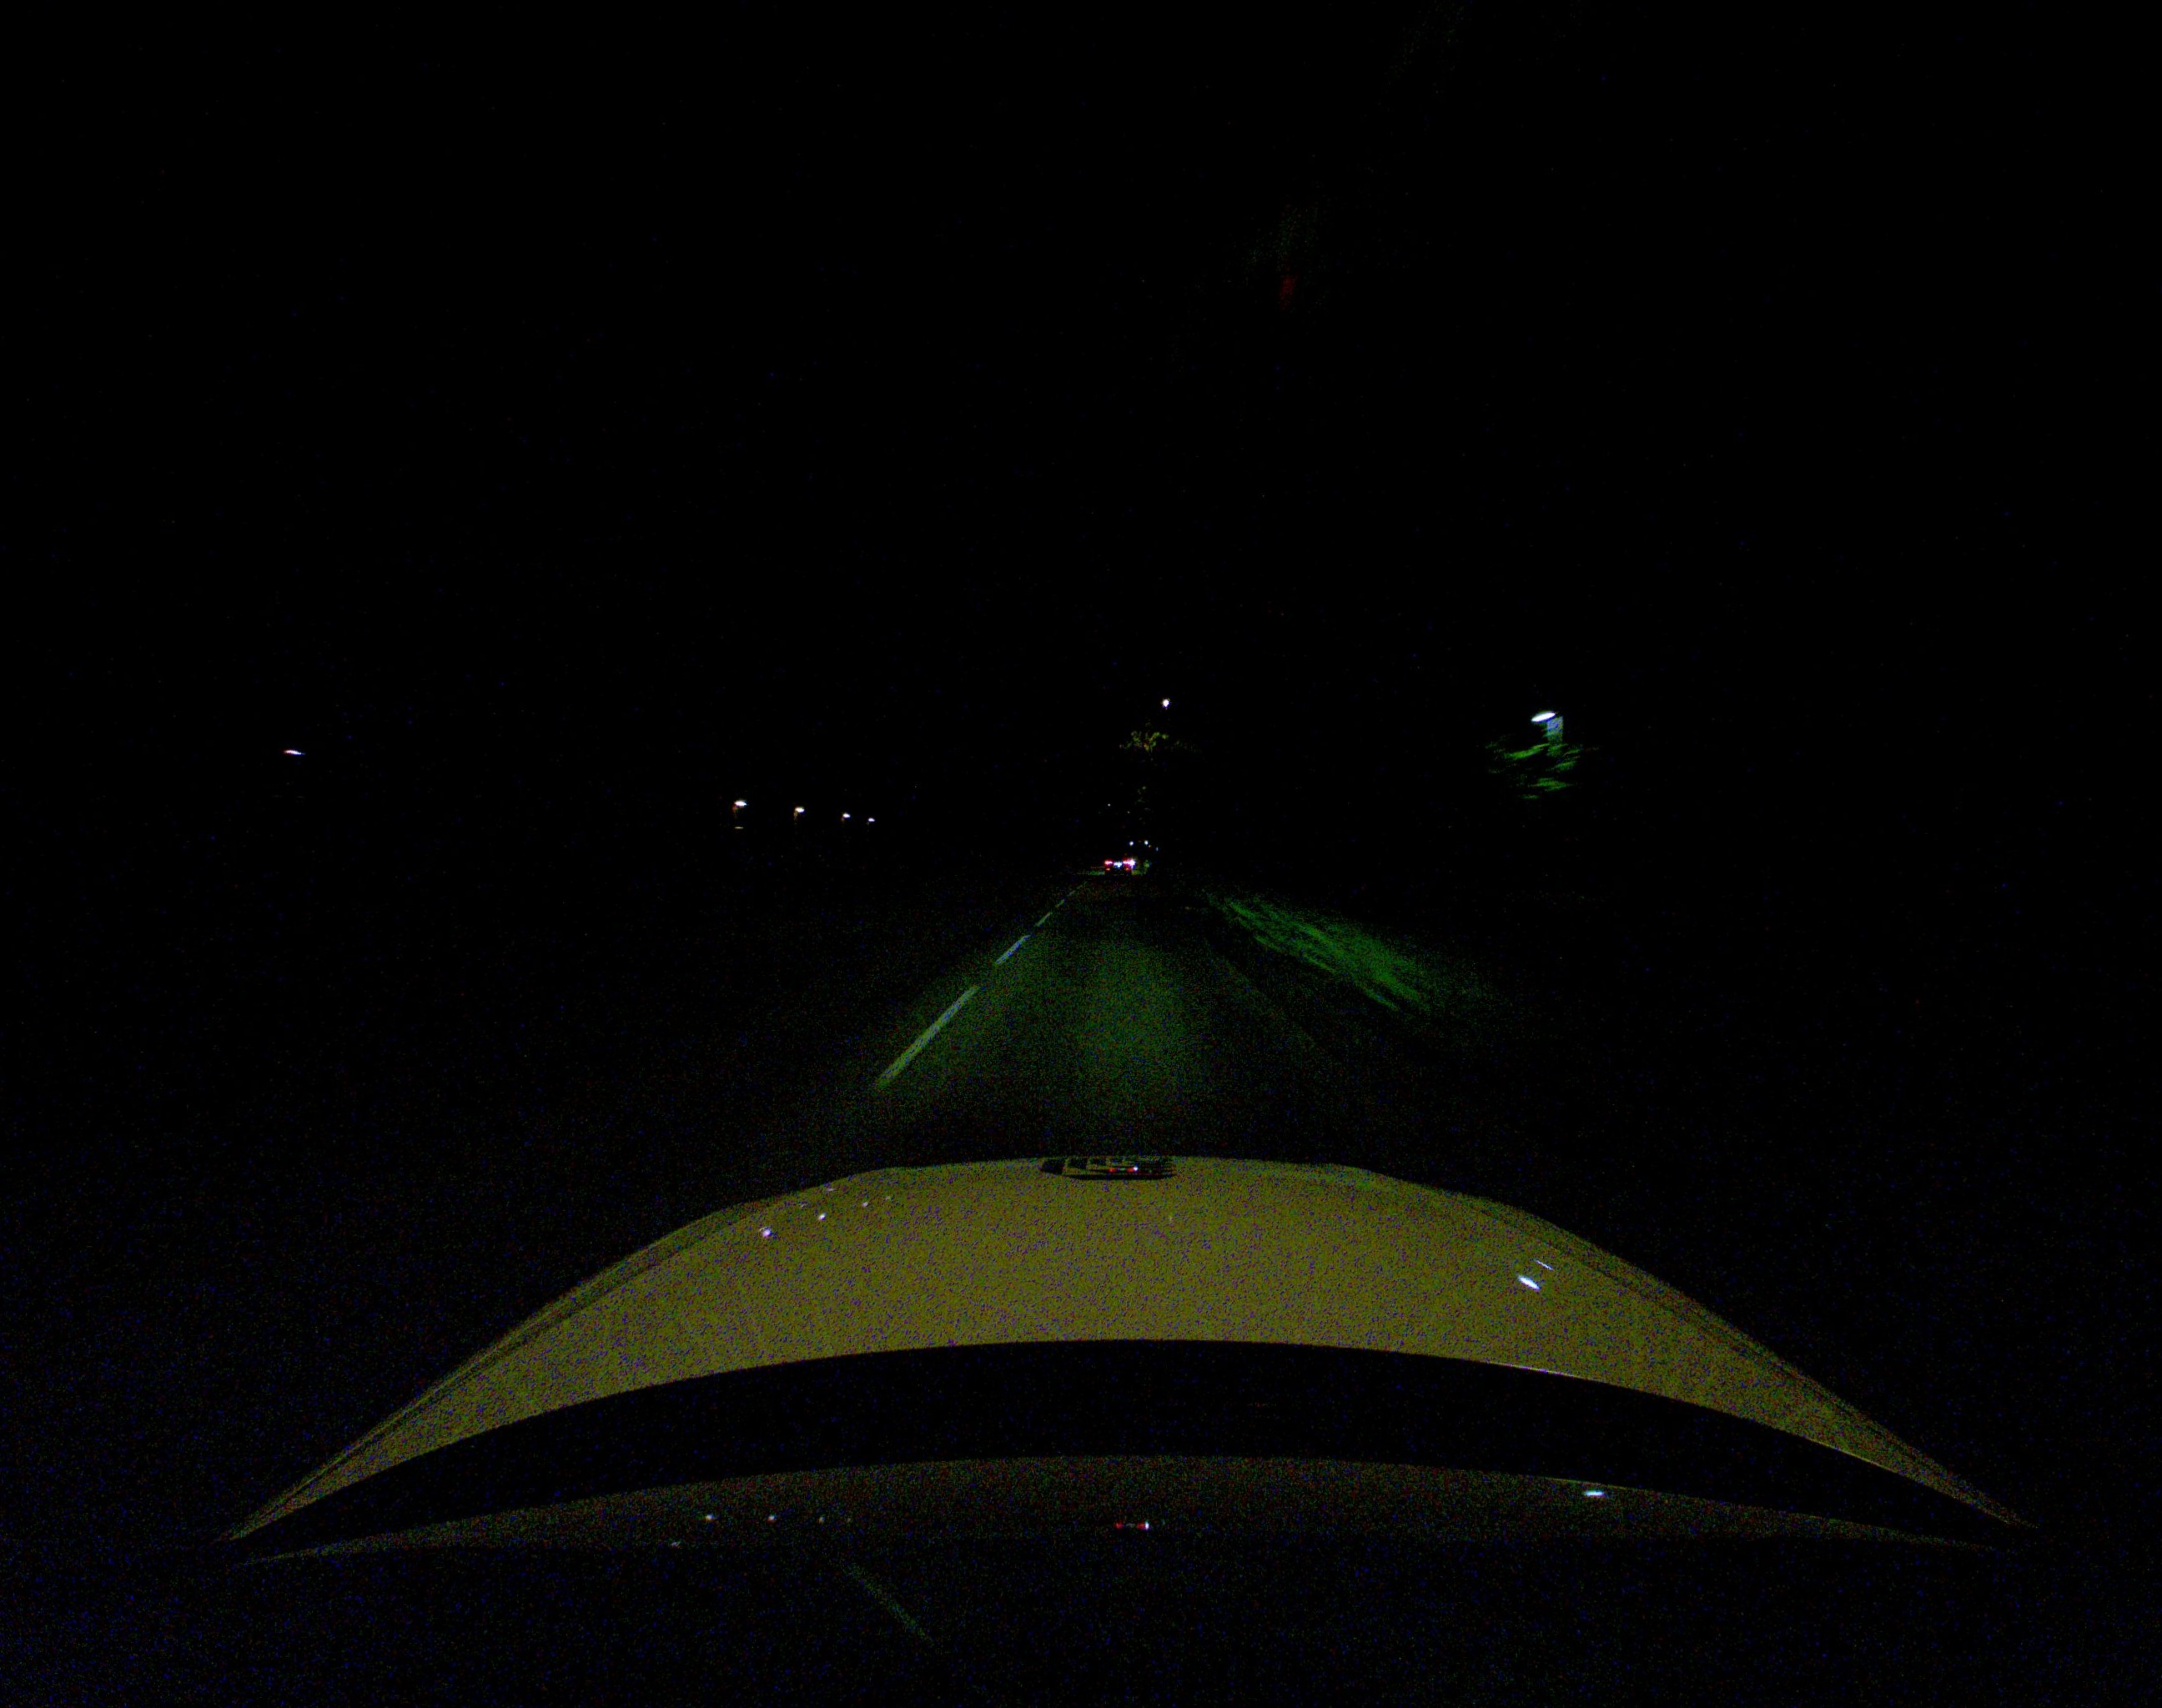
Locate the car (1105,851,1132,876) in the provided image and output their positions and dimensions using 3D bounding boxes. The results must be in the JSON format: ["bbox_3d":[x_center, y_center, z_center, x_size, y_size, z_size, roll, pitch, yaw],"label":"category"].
[{"bbox_3d":[2.578,0.651,56.386,1.757,1.642,3.723,-1,0,1],"label":"car"}]

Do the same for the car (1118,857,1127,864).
[{"bbox_3d":[8.130,1.280,159.647,1.680,1.457,4.003,-1,-1,3],"label":"car"}]
